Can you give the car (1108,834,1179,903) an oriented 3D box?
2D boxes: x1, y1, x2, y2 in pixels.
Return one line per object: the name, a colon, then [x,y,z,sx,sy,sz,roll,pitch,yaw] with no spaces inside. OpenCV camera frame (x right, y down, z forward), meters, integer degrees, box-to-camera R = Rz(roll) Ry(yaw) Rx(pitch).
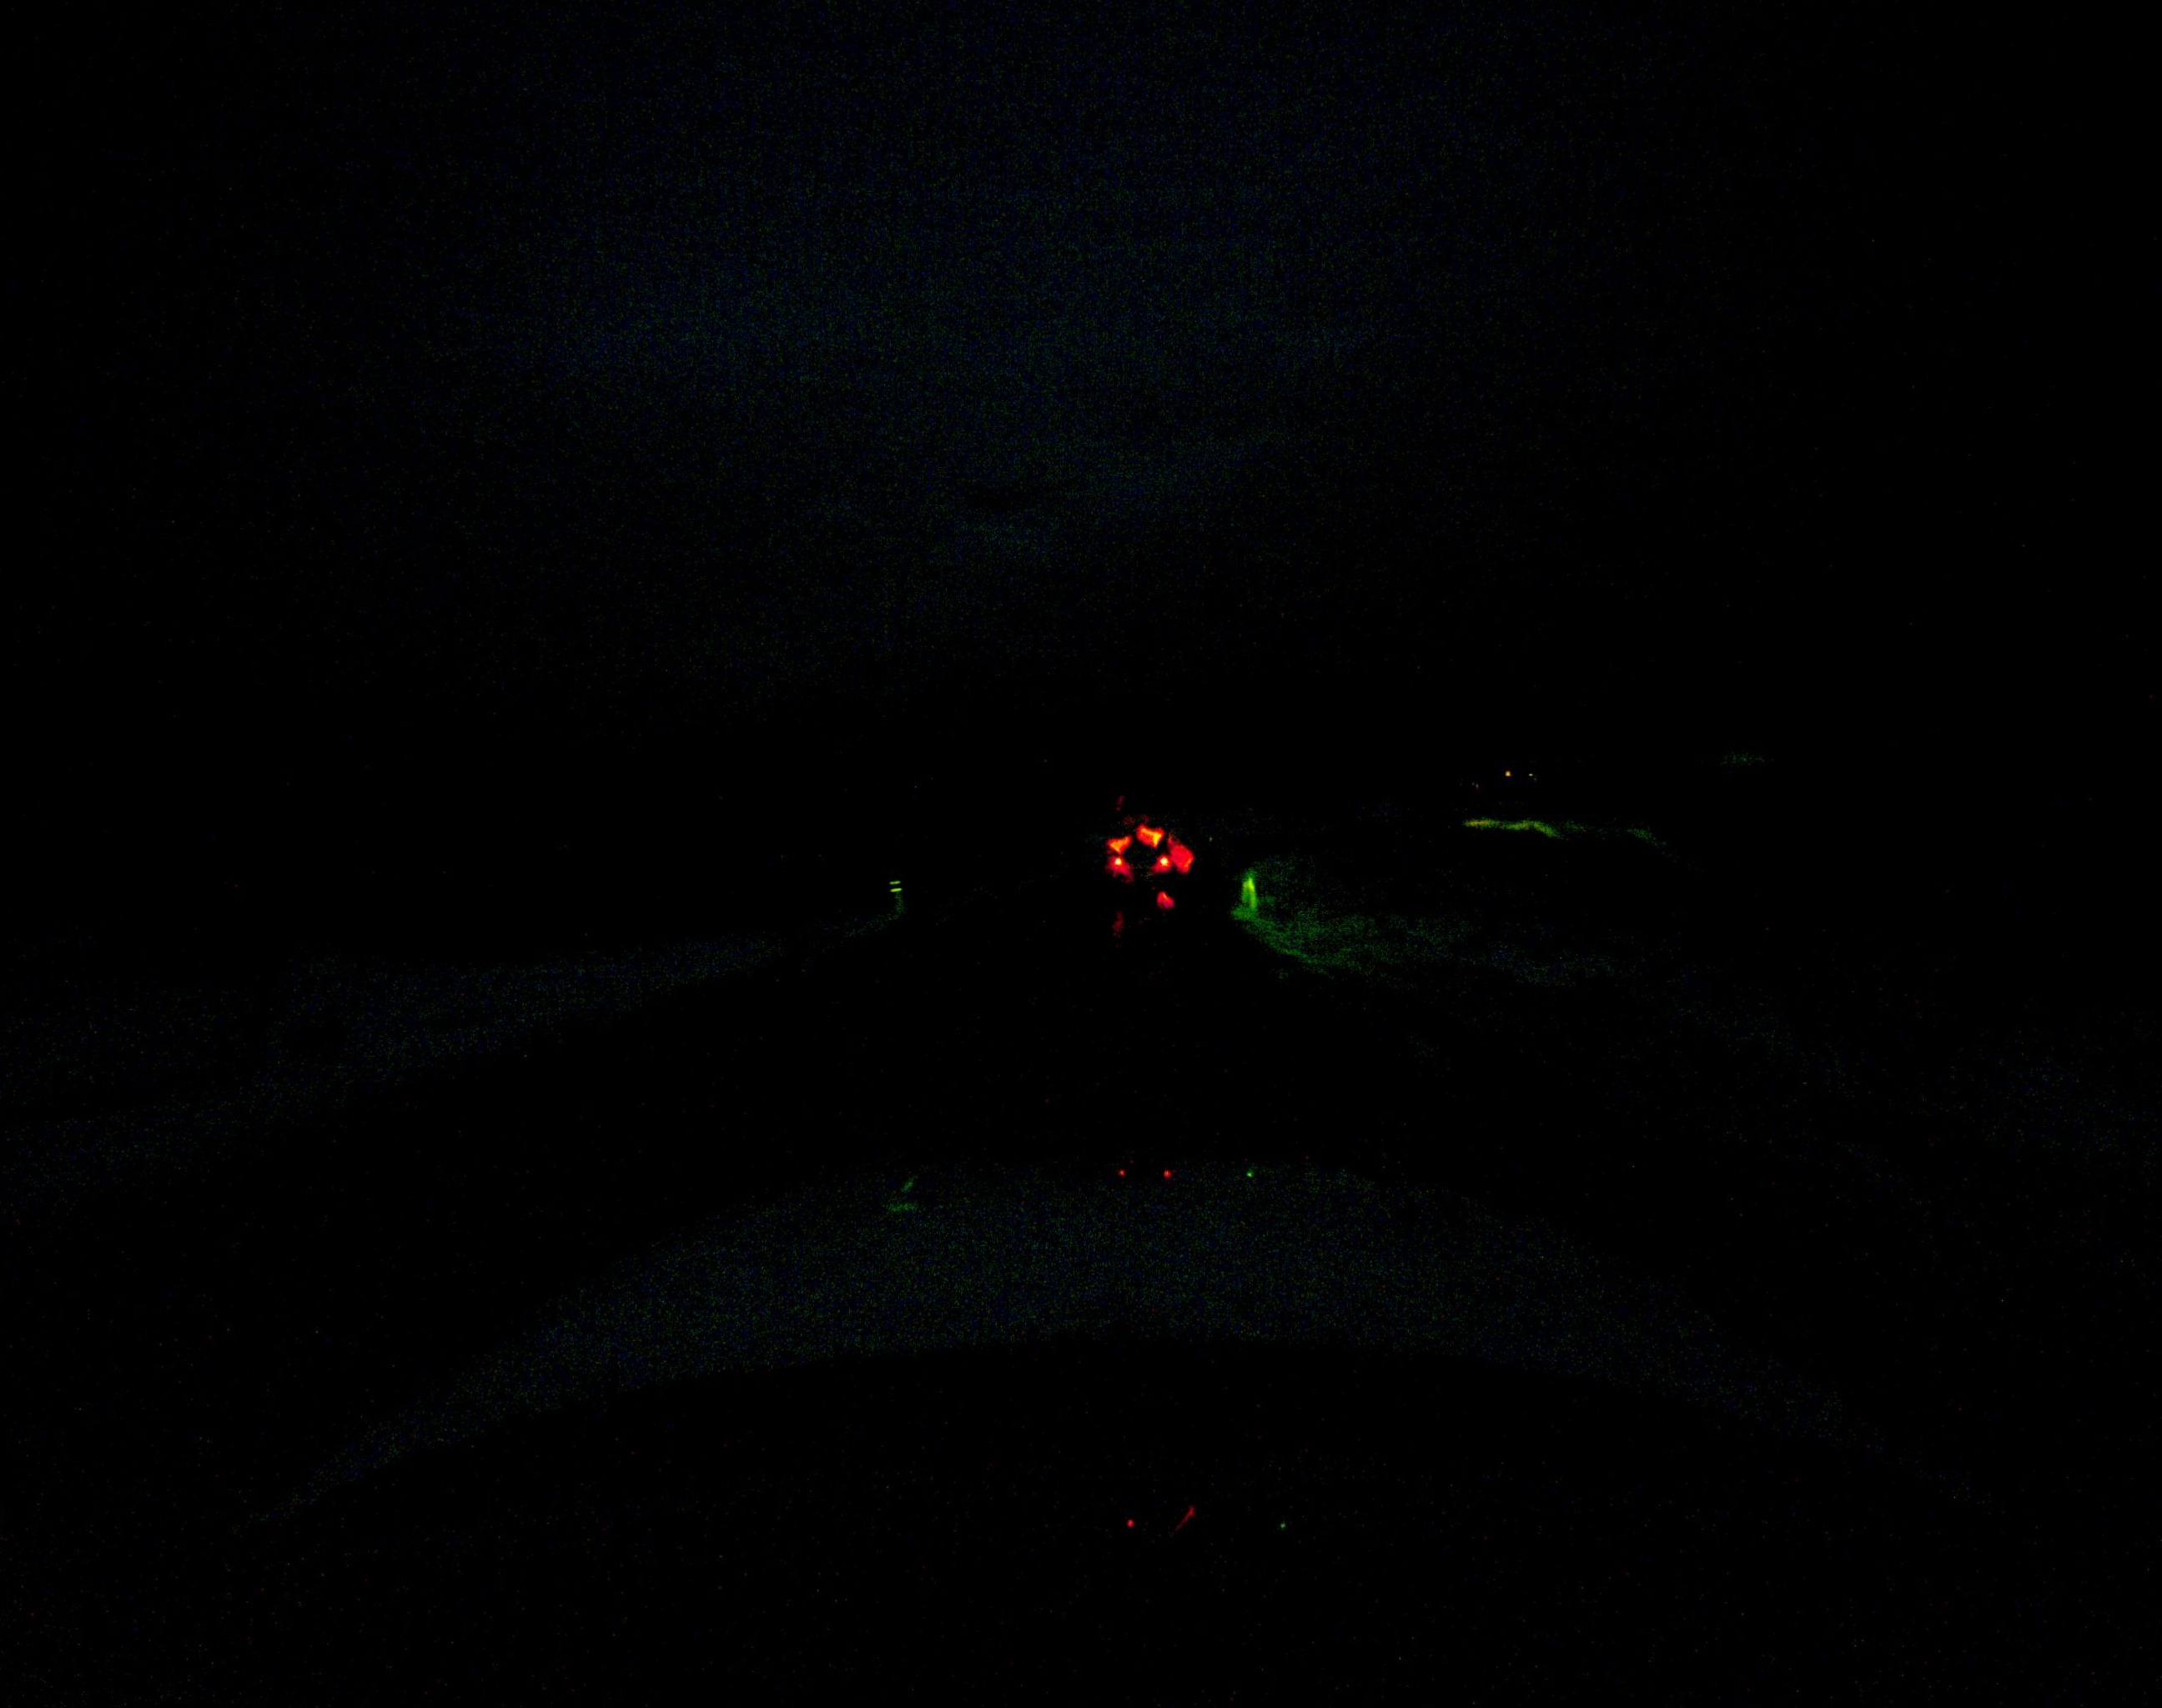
car: [1.779,0.390,24.161,1.816,1.796,3.578,-3,0,1]
